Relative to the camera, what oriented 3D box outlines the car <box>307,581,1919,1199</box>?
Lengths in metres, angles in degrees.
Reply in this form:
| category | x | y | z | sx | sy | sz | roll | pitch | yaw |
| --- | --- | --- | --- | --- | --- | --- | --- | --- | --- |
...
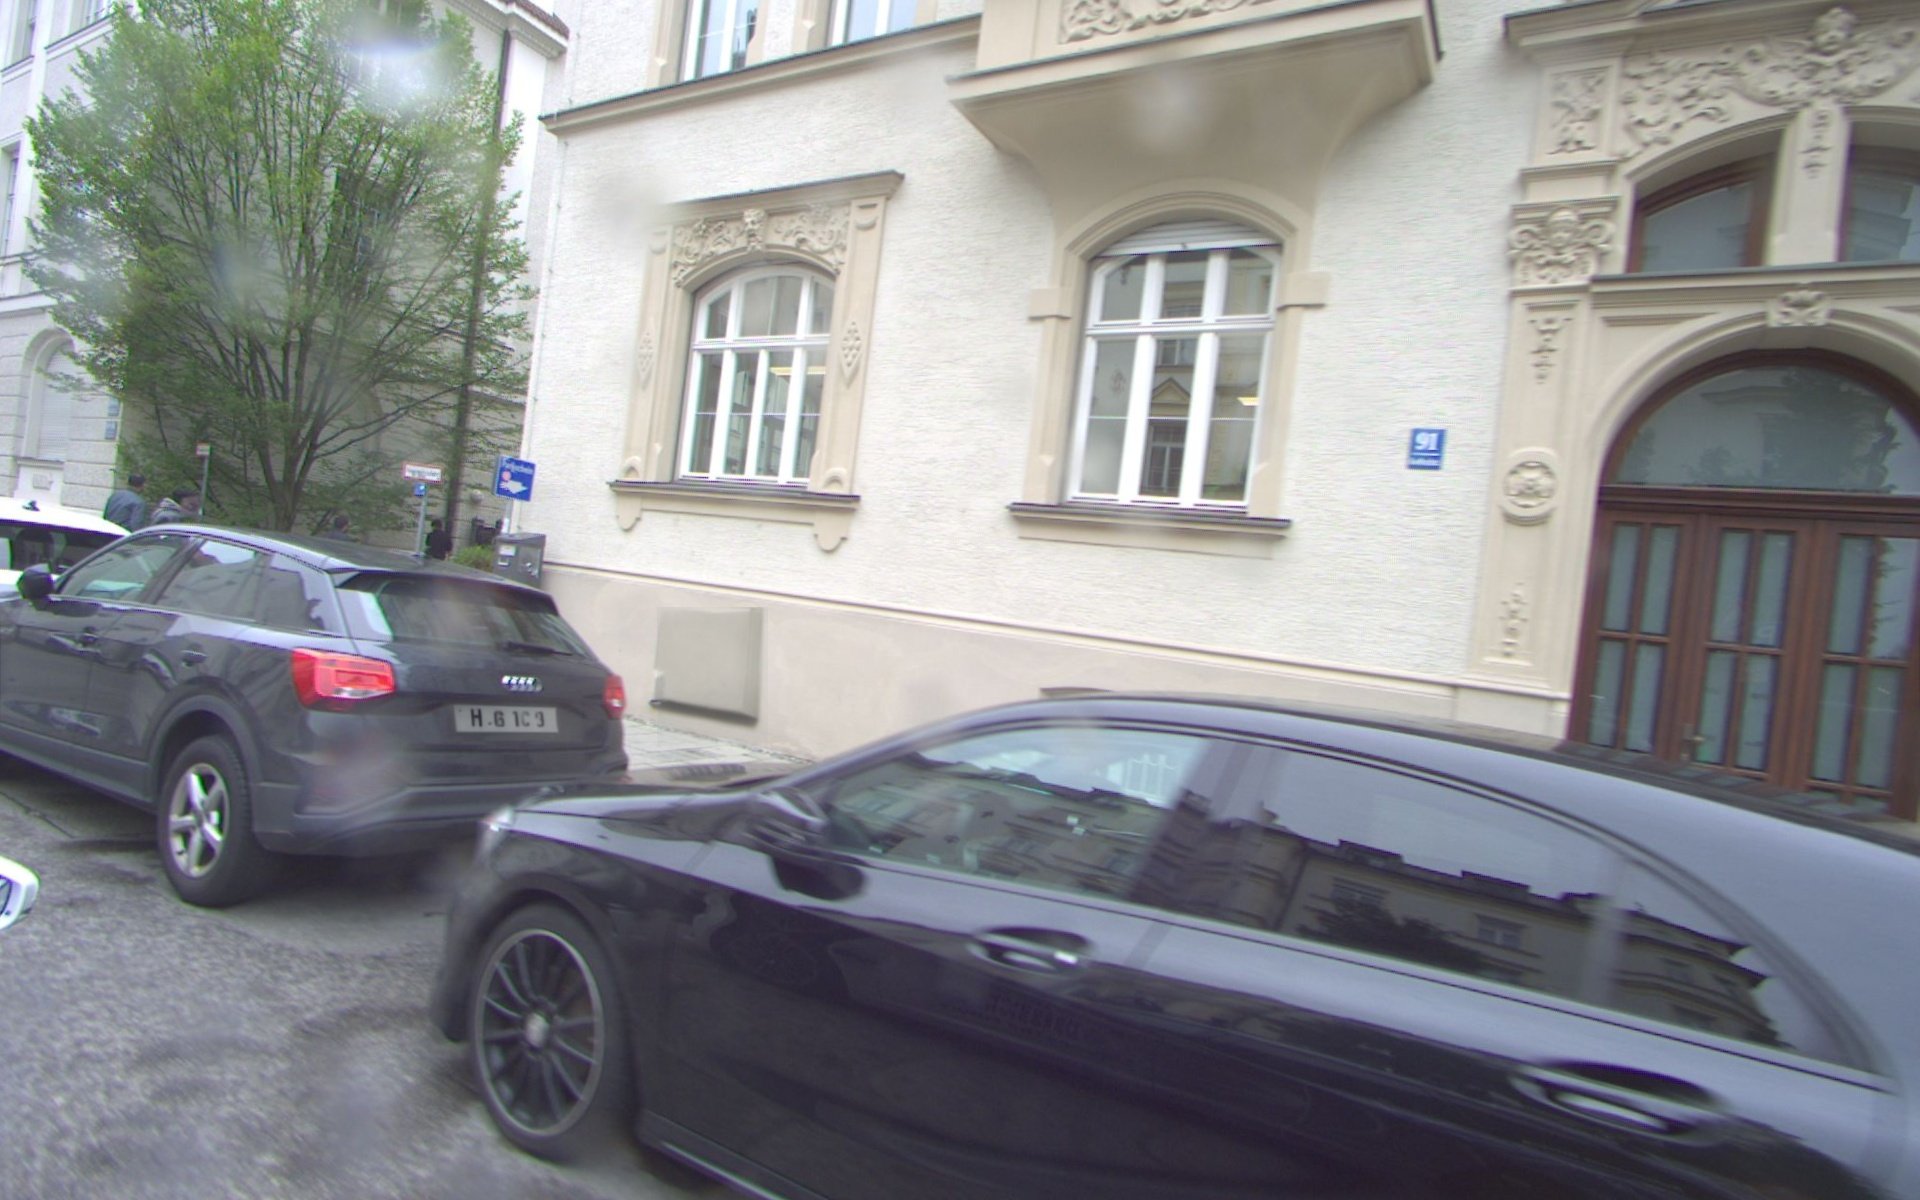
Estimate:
| category | x | y | z | sx | sy | sz | roll | pitch | yaw |
| --- | --- | --- | --- | --- | --- | --- | --- | --- | --- |
| car | 0.257 | 0.926 | 2.697 | 3.956 | 1.413 | 1.746 | 6 | -3 | 32 |

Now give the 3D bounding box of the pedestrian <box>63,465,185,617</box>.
| category | x | y | z | sx | sy | sz | roll | pitch | yaw |
| --- | --- | --- | --- | --- | --- | --- | --- | --- | --- |
| pedestrian | -10.732 | -0.744 | 12.932 | 0.661 | 1.791 | 0.883 | 8 | 1 | 30 |

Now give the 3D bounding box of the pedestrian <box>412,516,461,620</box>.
| category | x | y | z | sx | sy | sz | roll | pitch | yaw |
| --- | --- | --- | --- | --- | --- | --- | --- | --- | --- |
| pedestrian | -9.545 | -0.580 | 18.348 | 0.549 | 1.817 | 0.568 | 6 | 1 | -35 |

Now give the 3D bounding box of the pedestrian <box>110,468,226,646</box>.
| category | x | y | z | sx | sy | sz | roll | pitch | yaw |
| --- | --- | --- | --- | --- | --- | --- | --- | --- | --- |
| pedestrian | -8.508 | -0.451 | 10.812 | 0.661 | 1.791 | 0.628 | 8 | 1 | 30 |

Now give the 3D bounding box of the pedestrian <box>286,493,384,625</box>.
| category | x | y | z | sx | sy | sz | roll | pitch | yaw |
| --- | --- | --- | --- | --- | --- | --- | --- | --- | --- |
| pedestrian | -9.432 | -0.606 | 15.199 | 0.667 | 1.840 | 0.861 | 8 | 1 | 30 |

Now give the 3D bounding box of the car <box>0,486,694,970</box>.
| category | x | y | z | sx | sy | sz | roll | pitch | yaw |
| --- | --- | --- | --- | --- | --- | --- | --- | --- | --- |
| car | -3.636 | 0.406 | 5.306 | 4.011 | 1.515 | 1.797 | 8 | -2 | 28 |

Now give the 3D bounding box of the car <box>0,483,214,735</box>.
| category | x | y | z | sx | sy | sz | roll | pitch | yaw |
| --- | --- | --- | --- | --- | --- | --- | --- | --- | --- |
| car | -7.440 | -0.144 | 7.293 | 3.994 | 1.526 | 1.666 | 8 | 0 | 29 |

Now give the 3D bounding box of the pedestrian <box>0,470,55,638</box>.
| category | x | y | z | sx | sy | sz | roll | pitch | yaw |
| --- | --- | --- | --- | --- | --- | --- | --- | --- | --- |
| pedestrian | -9.994 | -0.505 | 10.101 | 0.850 | 1.678 | 0.854 | 7 | 0 | 4 |
